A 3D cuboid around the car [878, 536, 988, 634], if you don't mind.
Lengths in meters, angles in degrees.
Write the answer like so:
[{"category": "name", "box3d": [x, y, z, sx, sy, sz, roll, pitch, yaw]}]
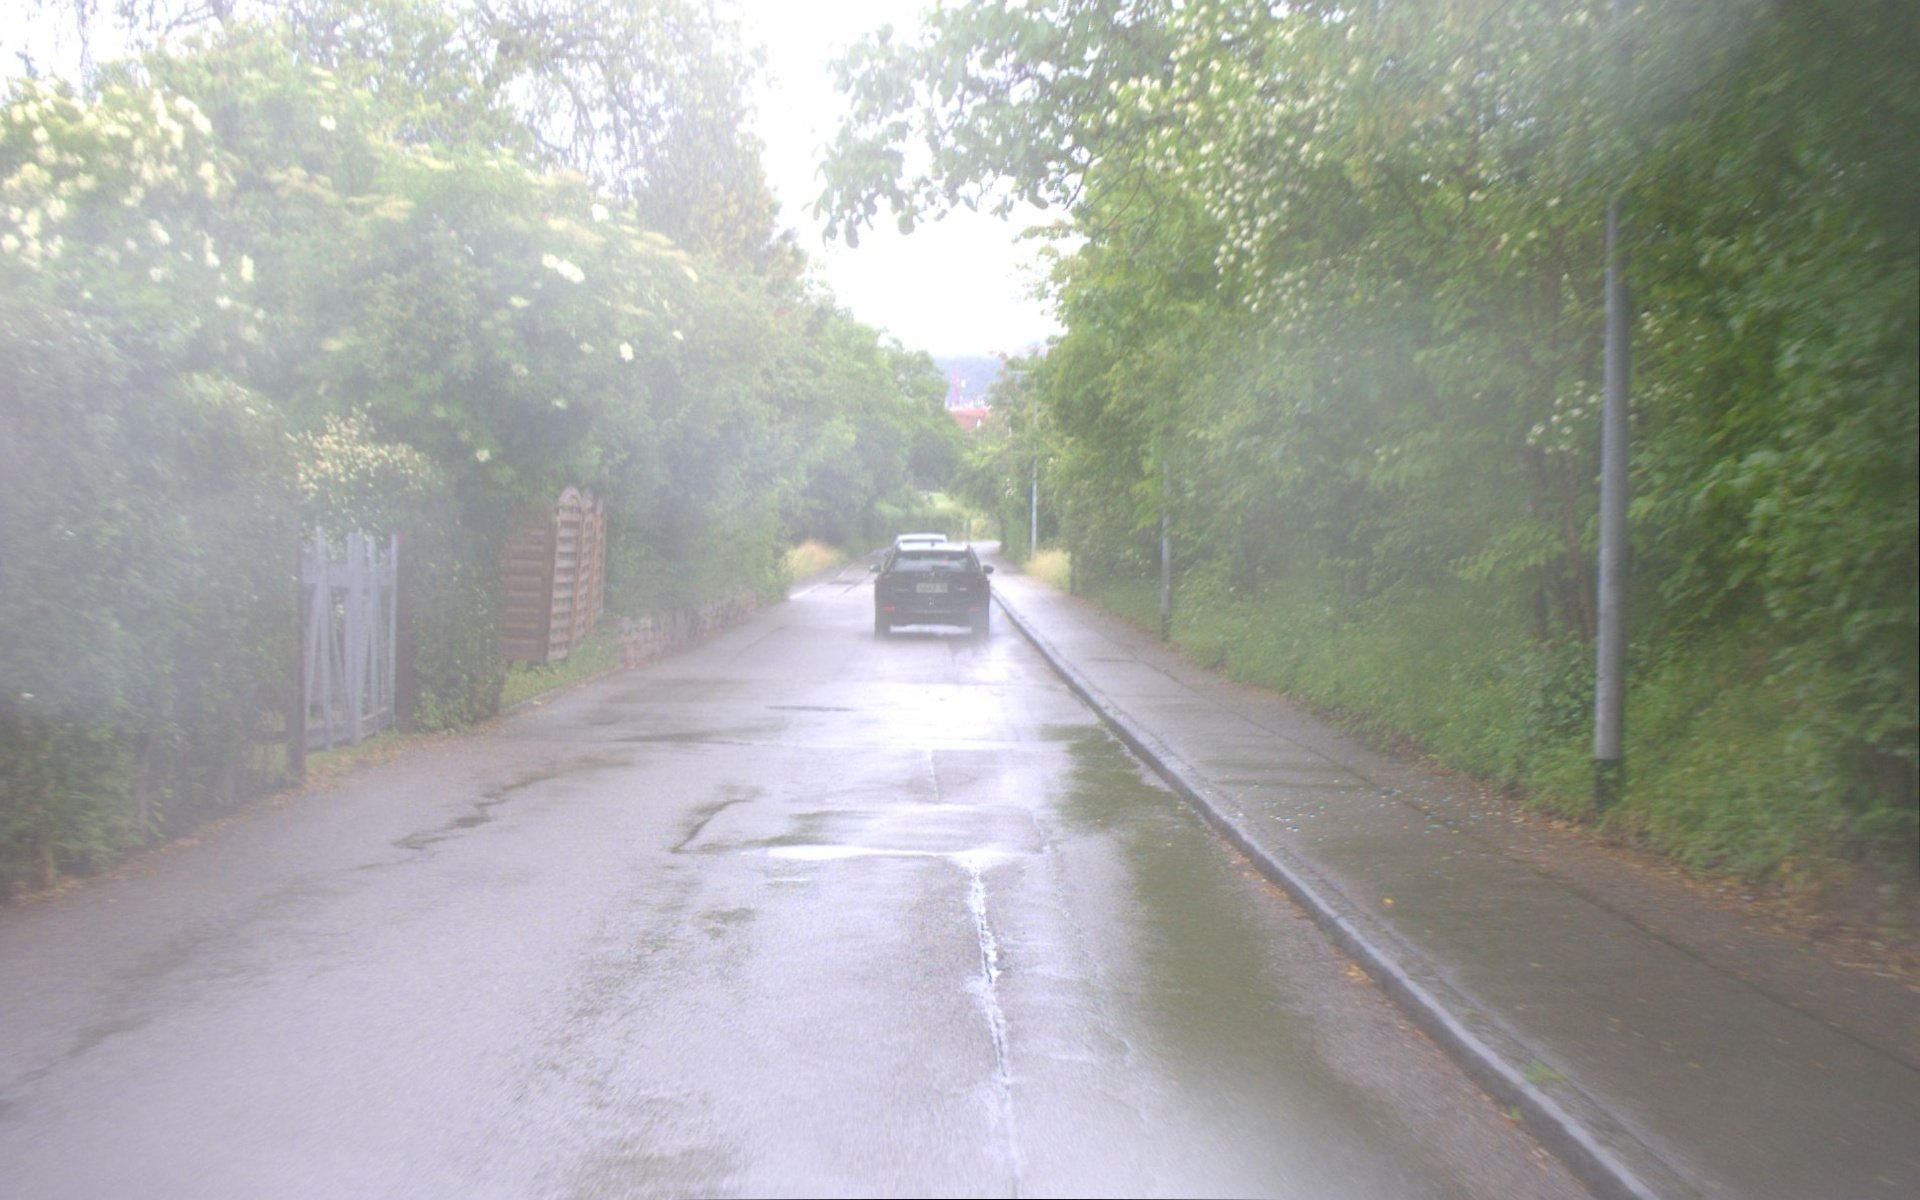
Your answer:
[{"category": "car", "box3d": [-0.388, -0.224, 53.151, 1.634, 1.445, 3.544, 1, 0, 0]}]
